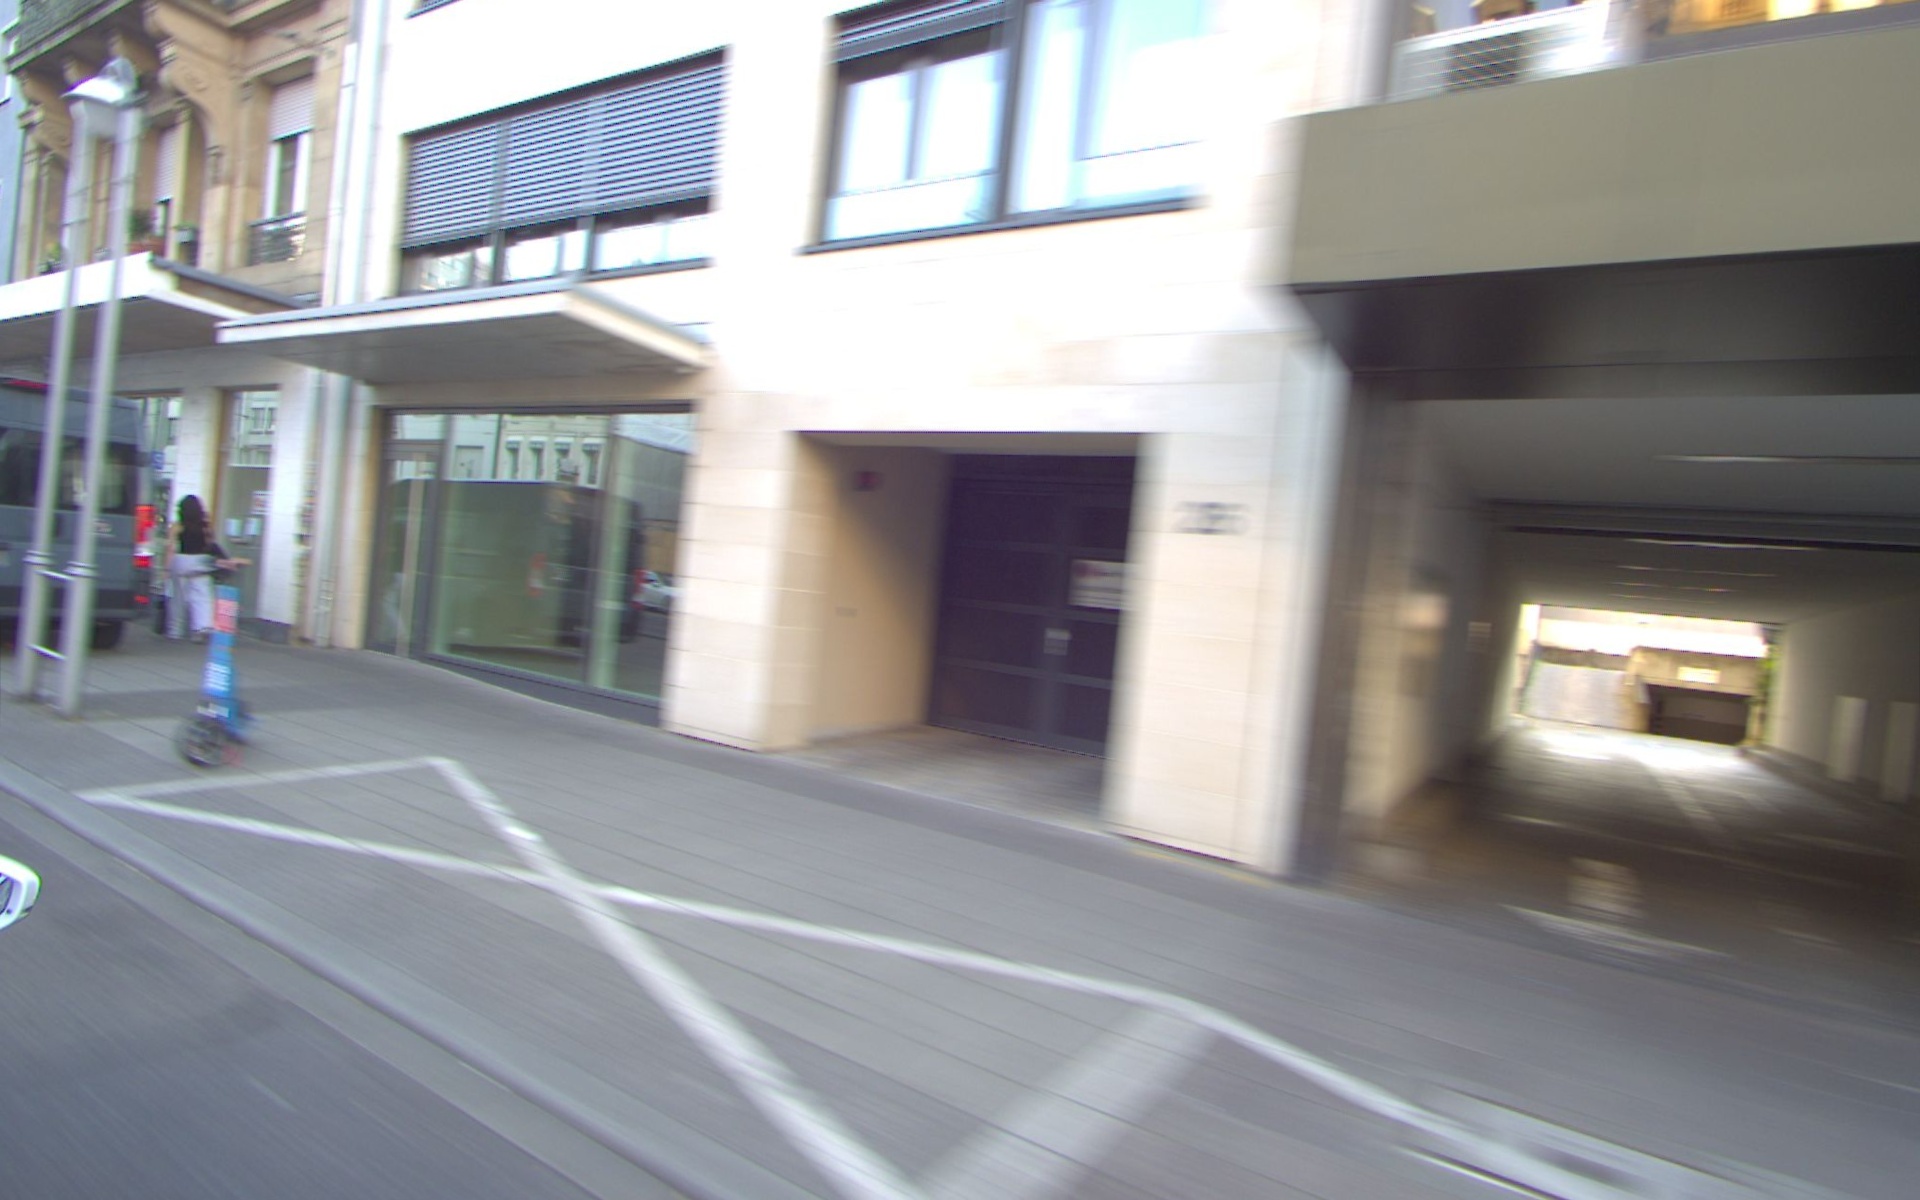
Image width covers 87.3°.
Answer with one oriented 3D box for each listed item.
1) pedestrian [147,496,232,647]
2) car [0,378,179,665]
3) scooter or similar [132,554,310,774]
[{"bbox_3d":[-8.883,-0.318,11.602,0.524,1.666,0.550,7,2,32],"label":"pedestrian"},{"bbox_3d":[-10.758,-0.928,10.504,5.933,2.487,2.093,6,2,32],"label":"car"},{"bbox_3d":[-4.627,0.361,6.379,0.493,1.235,1.259,6,1,-20],"label":"scooter or similar"}]
